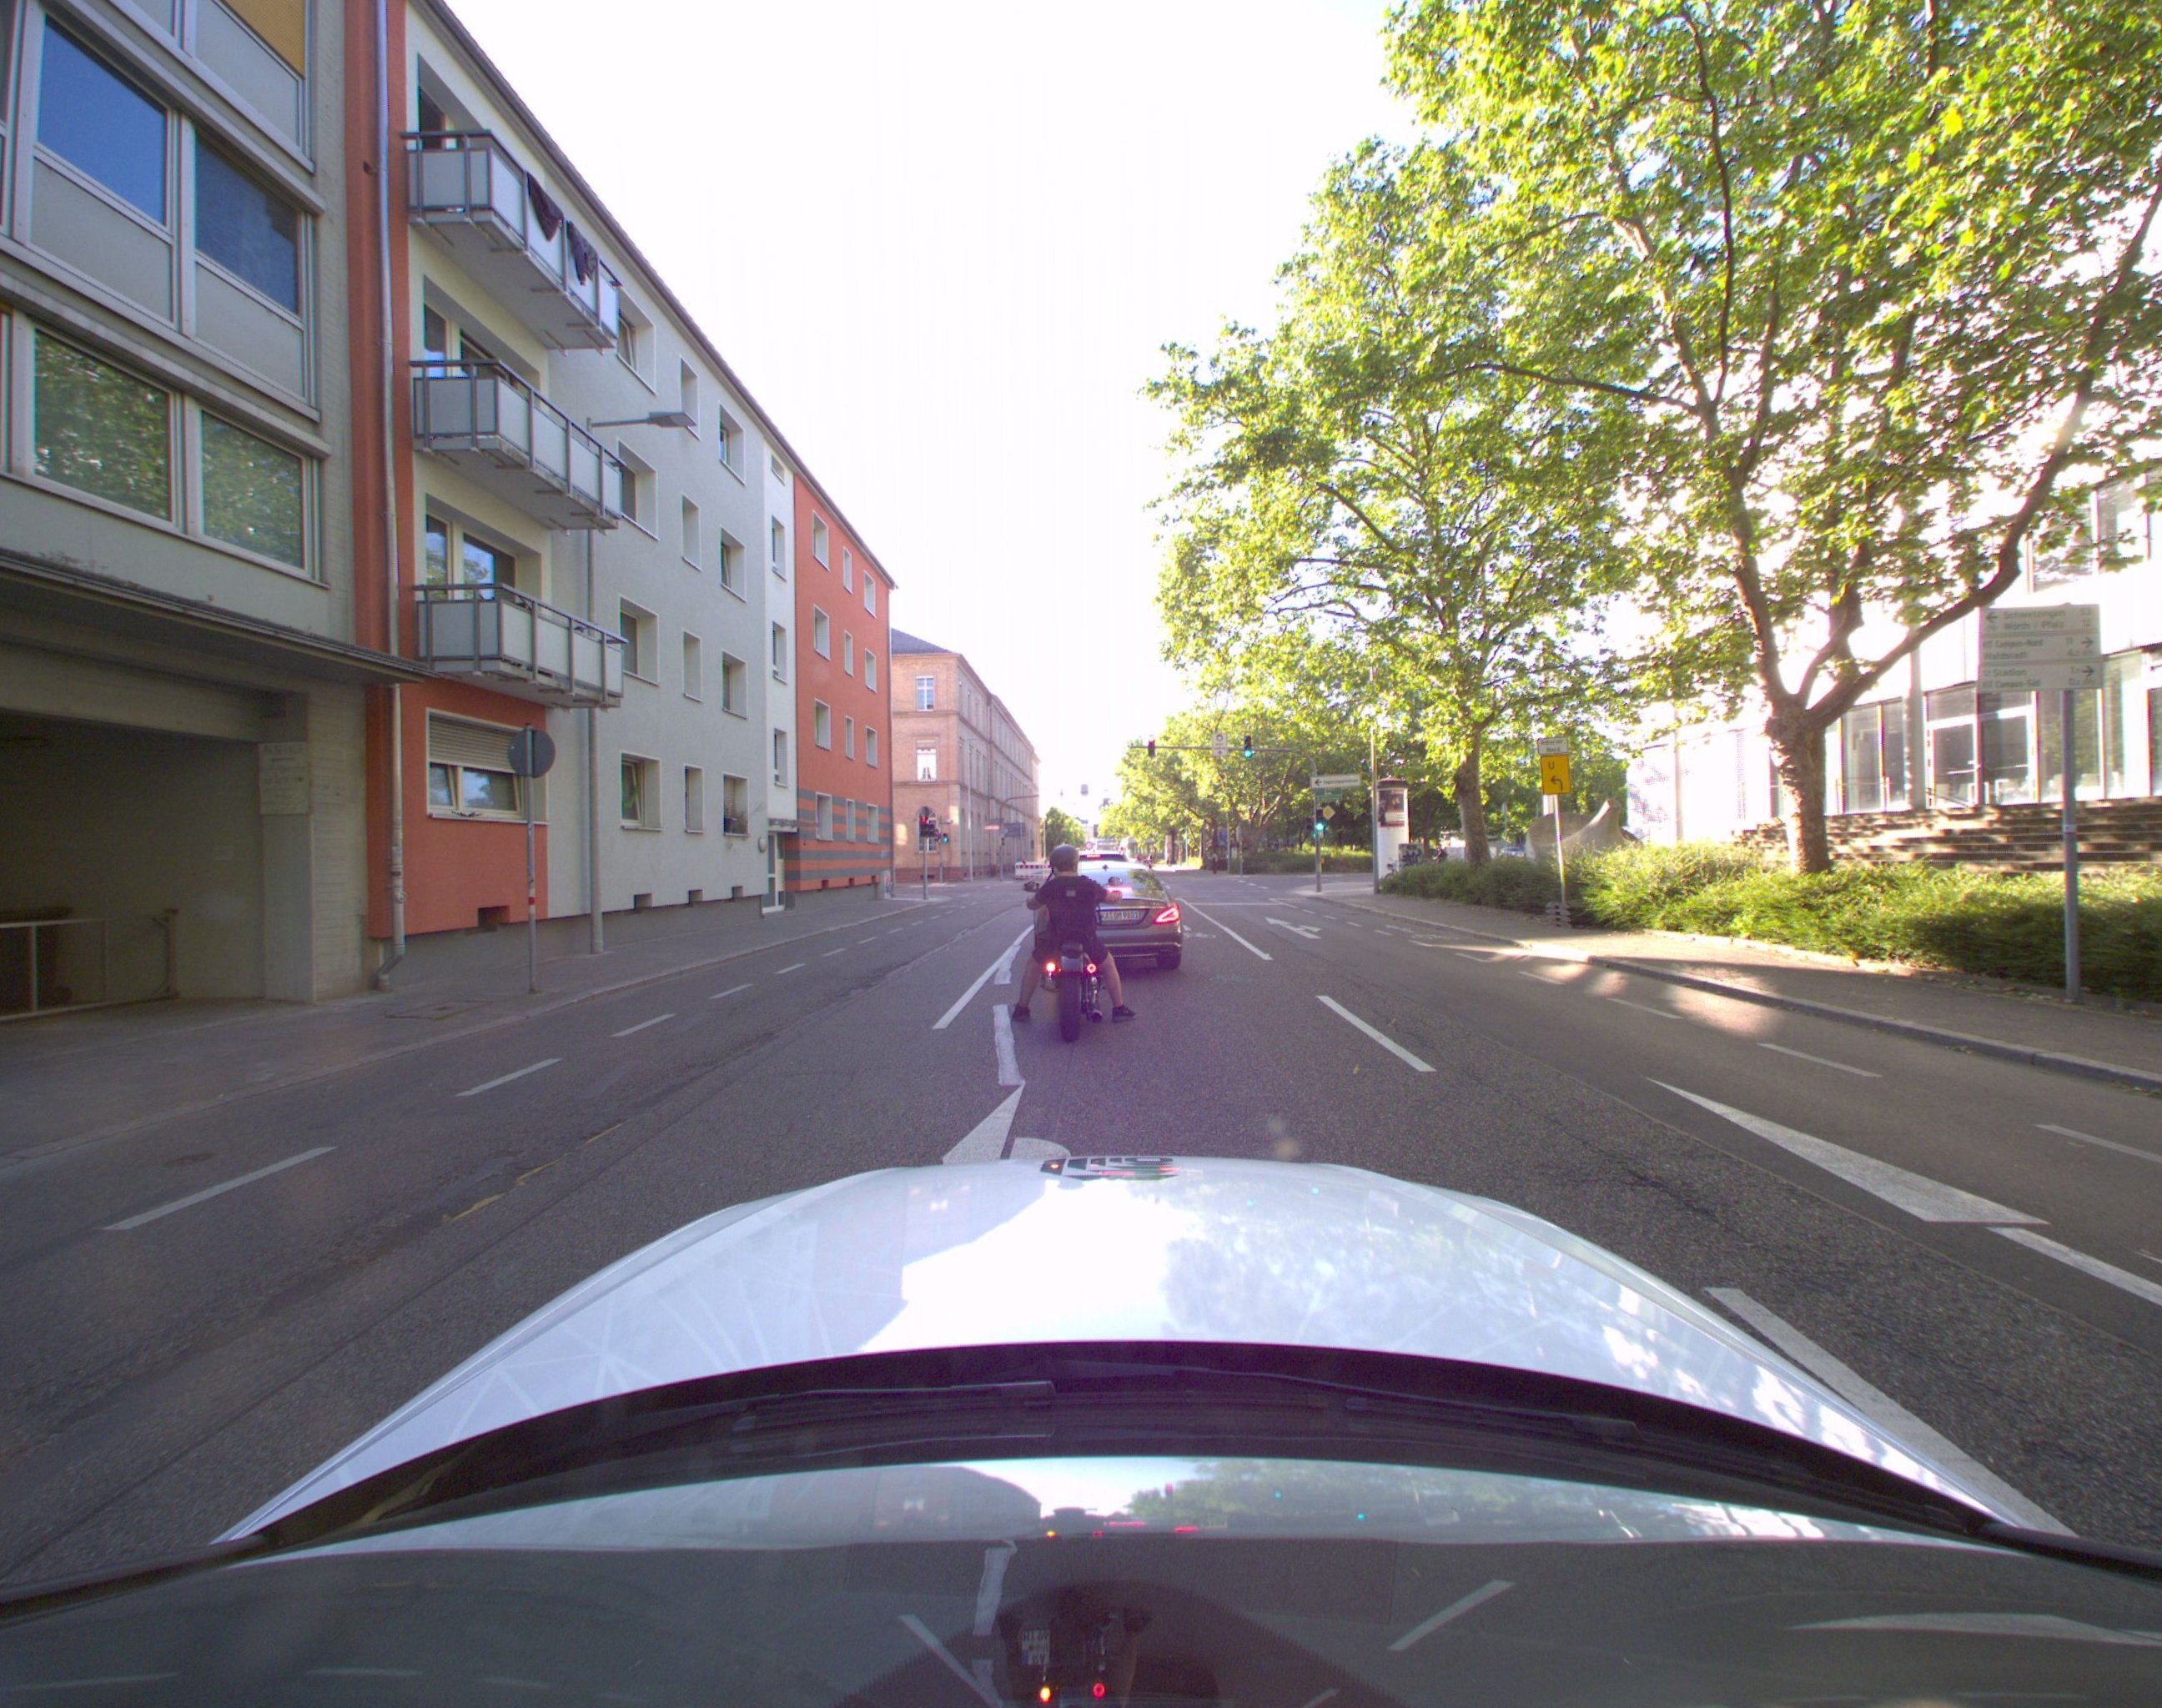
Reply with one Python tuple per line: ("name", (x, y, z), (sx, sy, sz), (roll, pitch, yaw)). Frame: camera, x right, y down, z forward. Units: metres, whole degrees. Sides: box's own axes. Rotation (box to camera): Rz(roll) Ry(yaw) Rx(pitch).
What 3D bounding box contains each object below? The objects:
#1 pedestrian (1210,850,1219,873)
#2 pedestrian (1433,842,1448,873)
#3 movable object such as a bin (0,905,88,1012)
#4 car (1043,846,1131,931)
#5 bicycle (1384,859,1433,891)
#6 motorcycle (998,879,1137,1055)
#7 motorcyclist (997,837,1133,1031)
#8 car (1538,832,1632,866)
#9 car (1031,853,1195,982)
("pedestrian", (10.163, 0.574, 61.959), (0.557, 1.678, 0.565), (-1, 0, 1))
("pedestrian", (21.128, 0.194, 47.836), (0.617, 1.784, 0.631), (-1, 0, 4))
("movable object such as a bin", (-11.270, 1.089, 8.640), (0.584, 1.040, 0.712), (-1, 0, 2))
("car", (0.144, 0.673, 17.743), (1.676, 1.625, 3.841), (-1, 0, 1))
("bicycle", (10.979, 0.708, 27.327), (1.411, 1.037, 0.538), (-1, 0, -2))
("motorcycle", (-0.059, 0.875, 7.351), (1.003, 1.204, 2.666), (-1, 0, 2))
("motorcyclist", (-0.115, 0.675, 7.447), (1.109, 1.613, 1.202), (-1, 0, 1))
("car", (28.173, -0.252, 45.633), (3.975, 1.784, 2.004), (-1, 0, 7))
("car", (0.250, 0.749, 11.756), (1.818, 1.476, 4.346), (-1, 0, -5))
